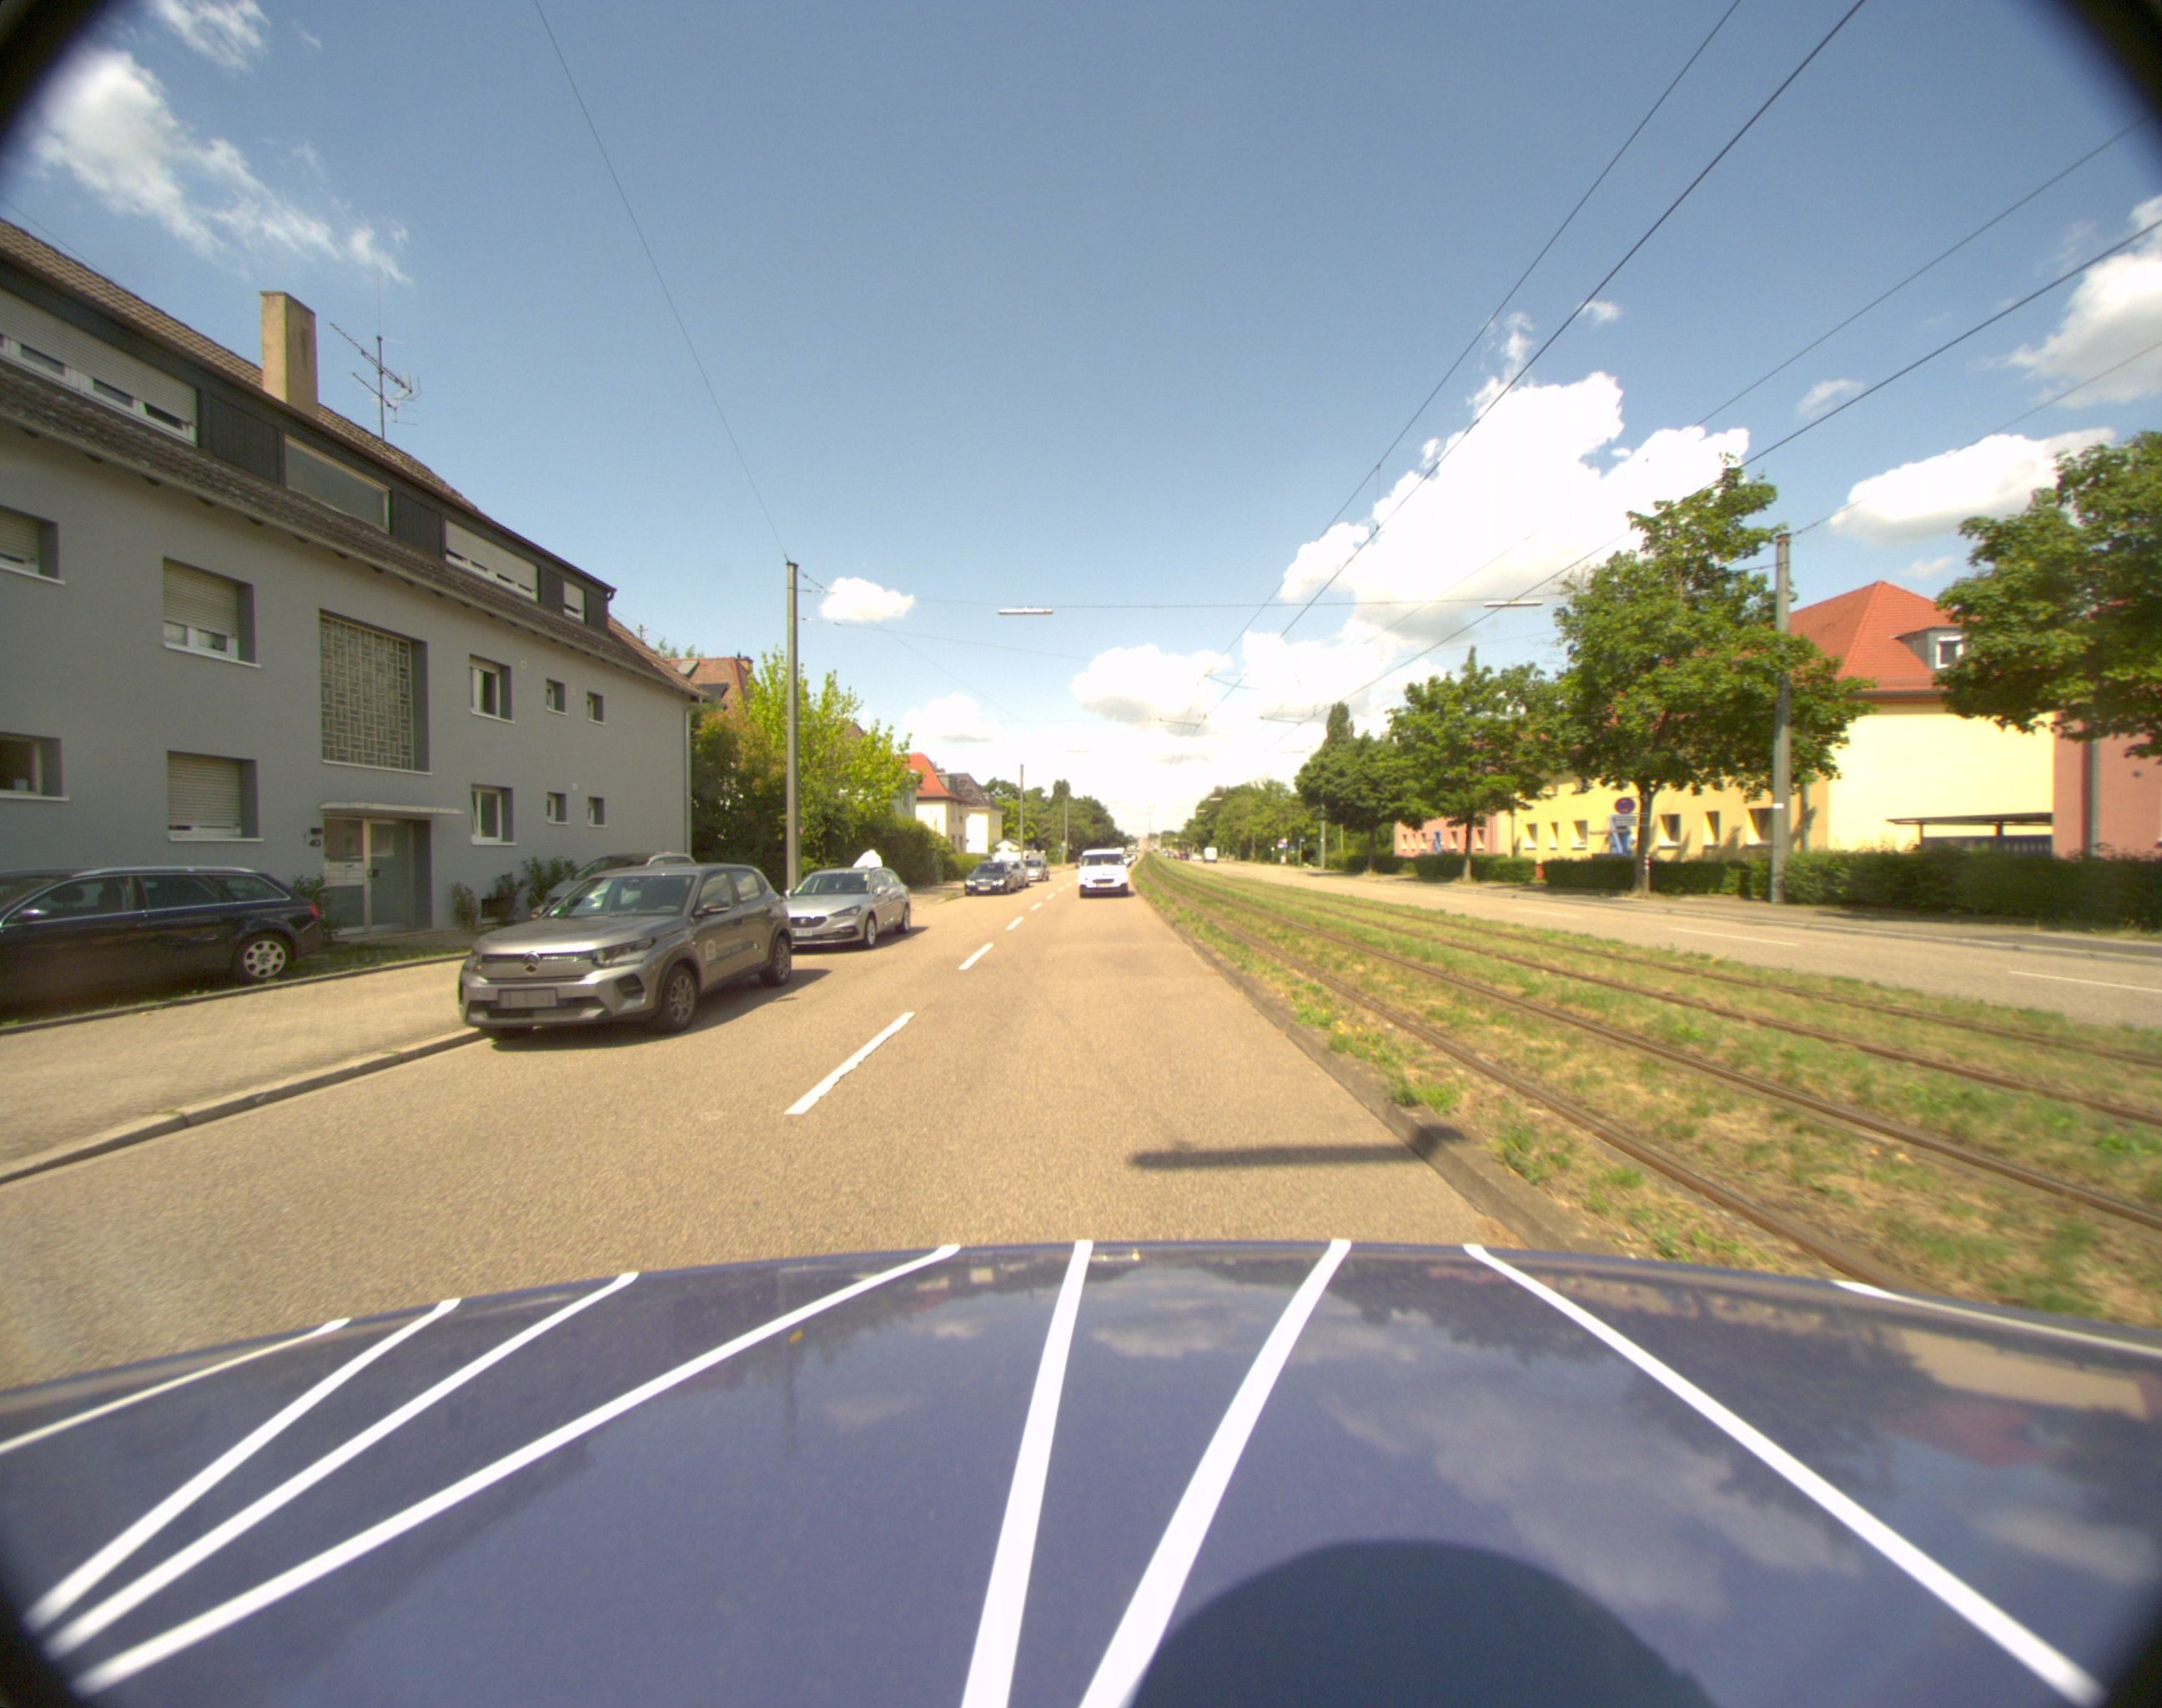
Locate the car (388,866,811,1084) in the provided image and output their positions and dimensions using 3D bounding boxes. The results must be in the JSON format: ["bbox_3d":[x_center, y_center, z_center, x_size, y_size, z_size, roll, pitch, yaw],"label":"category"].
[{"bbox_3d":[-4.584,1.000,8.180,1.812,1.550,4.252,-2,1,-1],"label":"car"}]

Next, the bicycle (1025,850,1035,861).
[{"bbox_3d":[-4.831,0.139,72.150,0.556,1.059,1.524,0,1,11],"label":"bicycle"}]

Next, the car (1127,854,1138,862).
[{"bbox_3d":[10.125,0.797,149.164,1.998,1.477,4.000,-2,1,3],"label":"car"}]

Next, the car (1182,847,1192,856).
[{"bbox_3d":[21.857,-0.533,156.540,1.689,1.736,4.229,0,0,4],"label":"car"}]

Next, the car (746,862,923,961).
[{"bbox_3d":[-4.490,0.957,14.692,1.819,1.446,4.642,-2,1,1],"label":"car"}]

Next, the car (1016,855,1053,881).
[{"bbox_3d":[-2.905,0.878,48.407,1.741,1.481,4.095,-2,1,5],"label":"car"}]

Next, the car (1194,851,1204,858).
[{"bbox_3d":[24.847,0.005,159.804,1.689,1.422,4.278,0,0,4],"label":"car"}]

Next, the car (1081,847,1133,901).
[{"bbox_3d":[0.939,0.691,28.826,1.777,1.850,4.375,-2,0,1],"label":"car"}]

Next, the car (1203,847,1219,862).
[{"bbox_3d":[21.801,0.026,127.937,2.036,2.422,5.779,1,1,4],"label":"car"}]

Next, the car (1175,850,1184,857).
[{"bbox_3d":[22.940,-0.142,177.472,1.731,1.570,4.277,0,0,3],"label":"car"}]

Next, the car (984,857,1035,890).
[{"bbox_3d":[-3.600,0.934,39.092,1.894,1.447,5.006,-2,1,2],"label":"car"}]

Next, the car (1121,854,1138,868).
[{"bbox_3d":[6.071,0.836,94.862,1.998,1.576,4.001,-2,1,4],"label":"car"}]

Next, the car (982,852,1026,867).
[{"bbox_3d":[-8.222,0.588,81.236,4.458,1.452,1.764,1,1,5],"label":"car"}]

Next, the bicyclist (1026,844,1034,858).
[{"bbox_3d":[-4.842,-0.252,72.115,0.689,1.345,0.665,0,1,11],"label":"bicyclist"}]

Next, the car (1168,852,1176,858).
[{"bbox_3d":[25.196,0.339,210.621,2.120,1.642,4.278,0,0,6],"label":"car"}]

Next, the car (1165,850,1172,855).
[{"bbox_3d":[27.590,-0.436,239.718,2.120,1.642,4.278,0,0,6],"label":"car"}]

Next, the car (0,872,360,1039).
[{"bbox_3d":[-10.767,0.975,7.926,1.803,1.415,4.857,0,0,1],"label":"car"}]

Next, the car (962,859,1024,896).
[{"bbox_3d":[-3.780,0.968,33.657,1.904,1.435,5.058,-2,0,3],"label":"car"}]

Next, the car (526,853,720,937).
[{"bbox_3d":[-10.471,0.842,17.885,1.761,1.637,4.768,0,1,-1],"label":"car"}]

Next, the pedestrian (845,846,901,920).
[{"bbox_3d":[-5.607,0.761,20.541,1.114,1.935,1.092,0,1,4],"label":"pedestrian"}]

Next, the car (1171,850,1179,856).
[{"bbox_3d":[23.791,-0.246,192.261,1.731,1.386,4.278,0,0,6],"label":"car"}]
